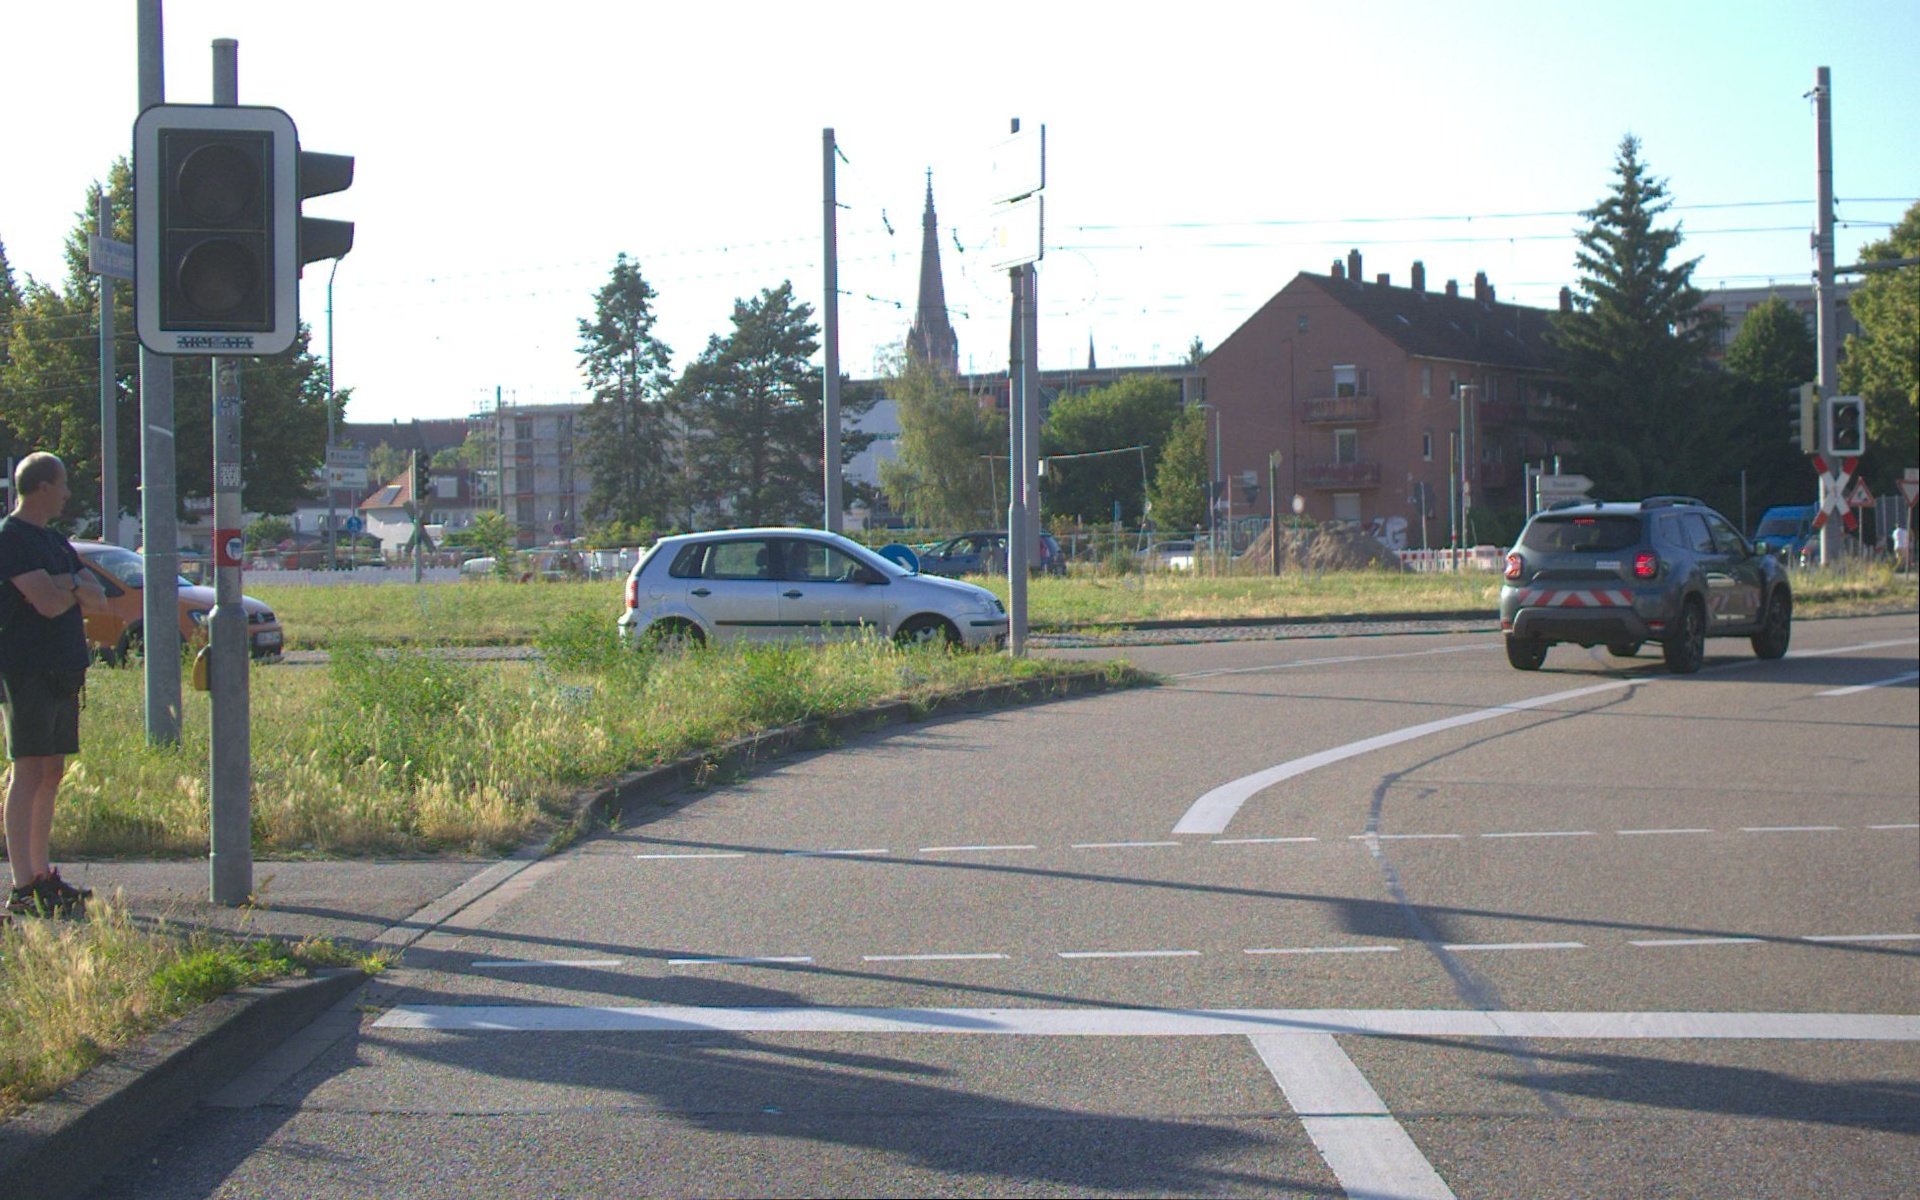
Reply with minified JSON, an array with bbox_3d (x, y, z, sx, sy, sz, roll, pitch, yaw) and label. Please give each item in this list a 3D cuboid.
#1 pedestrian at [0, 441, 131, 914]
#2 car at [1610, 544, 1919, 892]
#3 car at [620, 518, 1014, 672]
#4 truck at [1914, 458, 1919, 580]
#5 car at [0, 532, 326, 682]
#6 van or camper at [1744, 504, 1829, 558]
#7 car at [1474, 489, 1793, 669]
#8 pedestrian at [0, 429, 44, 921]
[{"bbox_3d":[-3.668,0.298,13.735,0.486,1.837,0.672,-1,1,3],"label":"pedestrian"},{"bbox_3d":[4.632,0.526,18.249,1.602,1.604,4.000,-1,1,0],"label":"car"},{"bbox_3d":[-1.376,-0.070,34.239,3.747,1.429,1.836,-1,1,3],"label":"car"},{"bbox_3d":[22.075,-1.666,69.309,2.579,2.549,6.253,-1,1,-16],"label":"truck"},{"bbox_3d":[-8.828,0.066,35.280,4.127,1.439,1.908,-1,1,11],"label":"car"},{"bbox_3d":[33.512,-2.811,139.356,2.097,2.147,4.416,0,1,31],"label":"van or camper"},{"bbox_3d":[6.692,-0.228,33.868,1.908,1.654,3.994,0,1,29],"label":"car"},{"bbox_3d":[-3.857,0.285,12.833,0.486,1.837,0.719,-1,1,21],"label":"pedestrian"}]
